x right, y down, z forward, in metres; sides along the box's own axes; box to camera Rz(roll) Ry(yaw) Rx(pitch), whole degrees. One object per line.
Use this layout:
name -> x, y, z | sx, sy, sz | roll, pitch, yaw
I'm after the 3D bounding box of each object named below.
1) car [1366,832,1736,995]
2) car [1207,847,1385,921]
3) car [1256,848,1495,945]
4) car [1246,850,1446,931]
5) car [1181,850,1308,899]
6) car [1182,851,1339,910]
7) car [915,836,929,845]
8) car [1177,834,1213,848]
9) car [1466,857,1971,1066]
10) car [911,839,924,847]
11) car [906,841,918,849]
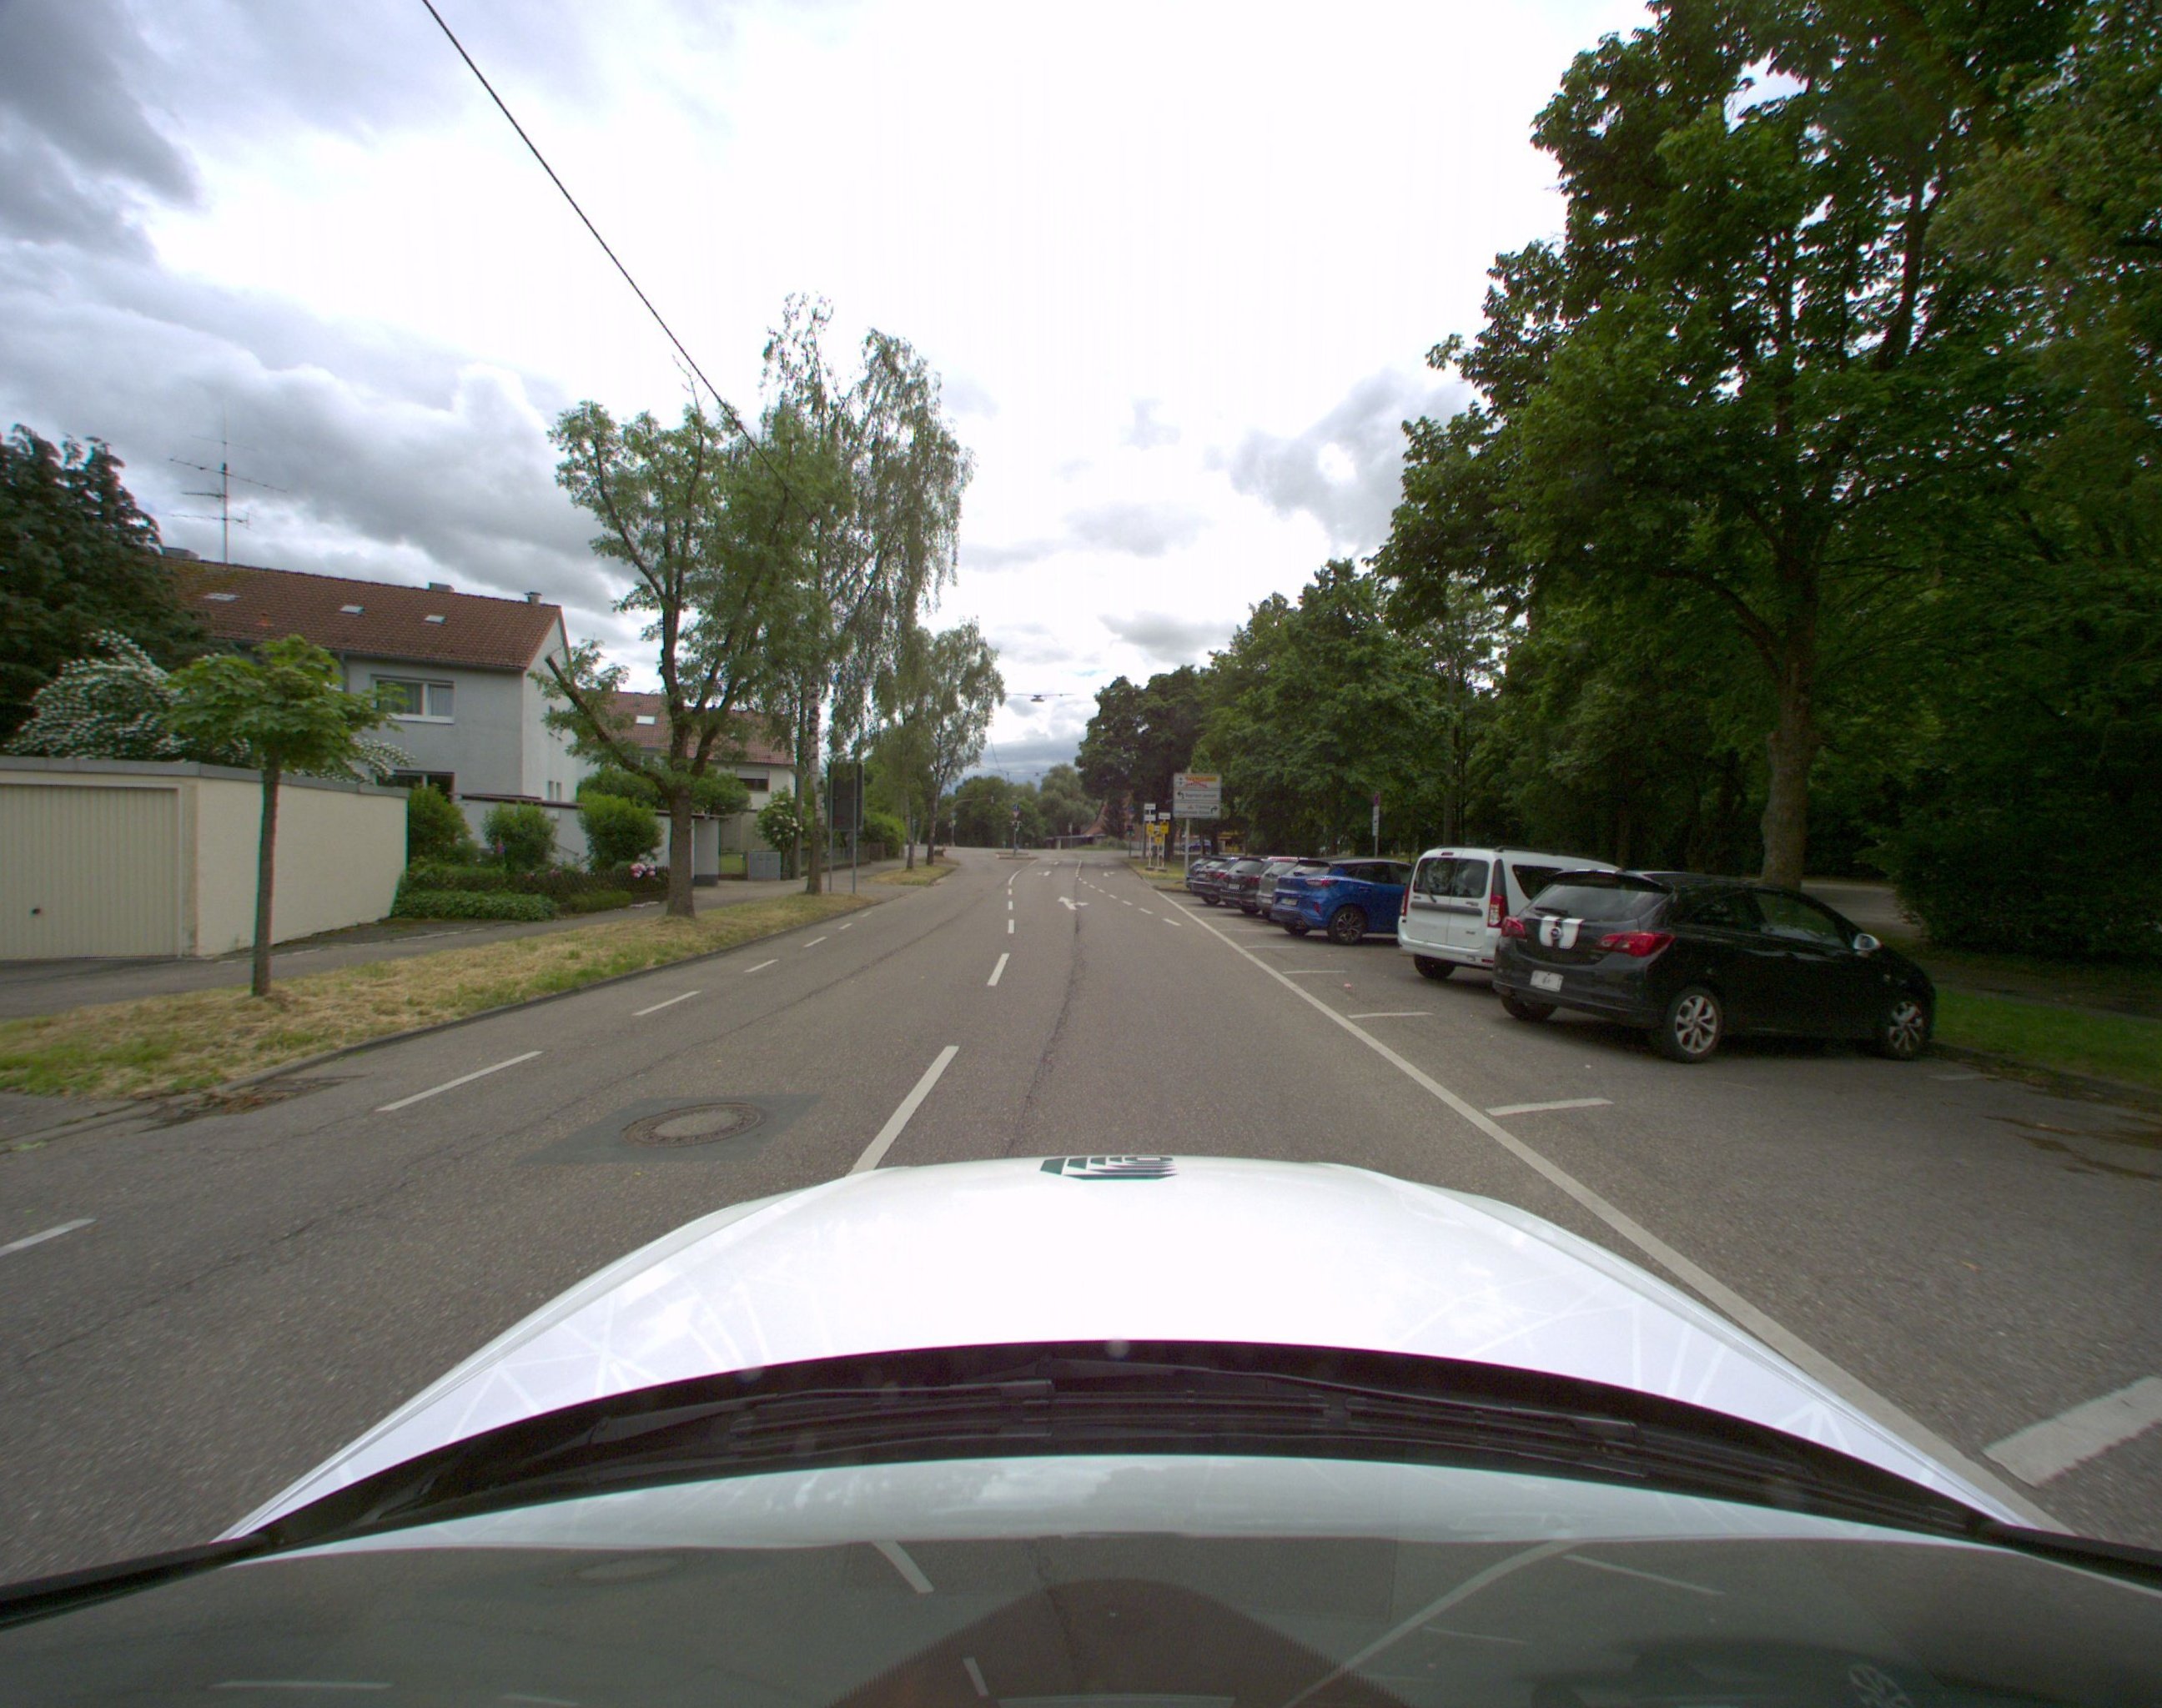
car -> 5.790, 0.721, 10.136 | 3.829, 1.720, 1.867 | 4, -1, -18
car -> 5.222, 0.721, 19.833 | 3.829, 1.528, 1.736 | 4, -1, -18
car -> 5.362, 0.767, 14.909 | 3.829, 1.528, 1.736 | 4, -1, -18
car -> 5.781, 0.791, 17.831 | 3.829, 1.528, 1.736 | 4, -1, -18
car -> 5.556, 0.692, 27.775 | 3.829, 1.425, 1.736 | 4, -1, -18
car -> 5.030, 0.733, 22.936 | 3.883, 1.426, 1.819 | 4, -1, -18
car -> -27.229, -2.274, 139.106 | 1.800, 1.512, 3.975 | 0, 1, -19
car -> 14.073, -1.589, 100.481 | 3.858, 1.647, 1.987 | 0, 1, -20
car -> 5.710, 0.900, 7.382 | 3.829, 1.468, 1.736 | 4, 1, -18
car -> -28.906, -1.930, 143.717 | 1.800, 1.409, 3.975 | 0, 1, -19
car -> -31.469, -1.748, 151.430 | 1.800, 1.409, 3.975 | 0, 1, -19
